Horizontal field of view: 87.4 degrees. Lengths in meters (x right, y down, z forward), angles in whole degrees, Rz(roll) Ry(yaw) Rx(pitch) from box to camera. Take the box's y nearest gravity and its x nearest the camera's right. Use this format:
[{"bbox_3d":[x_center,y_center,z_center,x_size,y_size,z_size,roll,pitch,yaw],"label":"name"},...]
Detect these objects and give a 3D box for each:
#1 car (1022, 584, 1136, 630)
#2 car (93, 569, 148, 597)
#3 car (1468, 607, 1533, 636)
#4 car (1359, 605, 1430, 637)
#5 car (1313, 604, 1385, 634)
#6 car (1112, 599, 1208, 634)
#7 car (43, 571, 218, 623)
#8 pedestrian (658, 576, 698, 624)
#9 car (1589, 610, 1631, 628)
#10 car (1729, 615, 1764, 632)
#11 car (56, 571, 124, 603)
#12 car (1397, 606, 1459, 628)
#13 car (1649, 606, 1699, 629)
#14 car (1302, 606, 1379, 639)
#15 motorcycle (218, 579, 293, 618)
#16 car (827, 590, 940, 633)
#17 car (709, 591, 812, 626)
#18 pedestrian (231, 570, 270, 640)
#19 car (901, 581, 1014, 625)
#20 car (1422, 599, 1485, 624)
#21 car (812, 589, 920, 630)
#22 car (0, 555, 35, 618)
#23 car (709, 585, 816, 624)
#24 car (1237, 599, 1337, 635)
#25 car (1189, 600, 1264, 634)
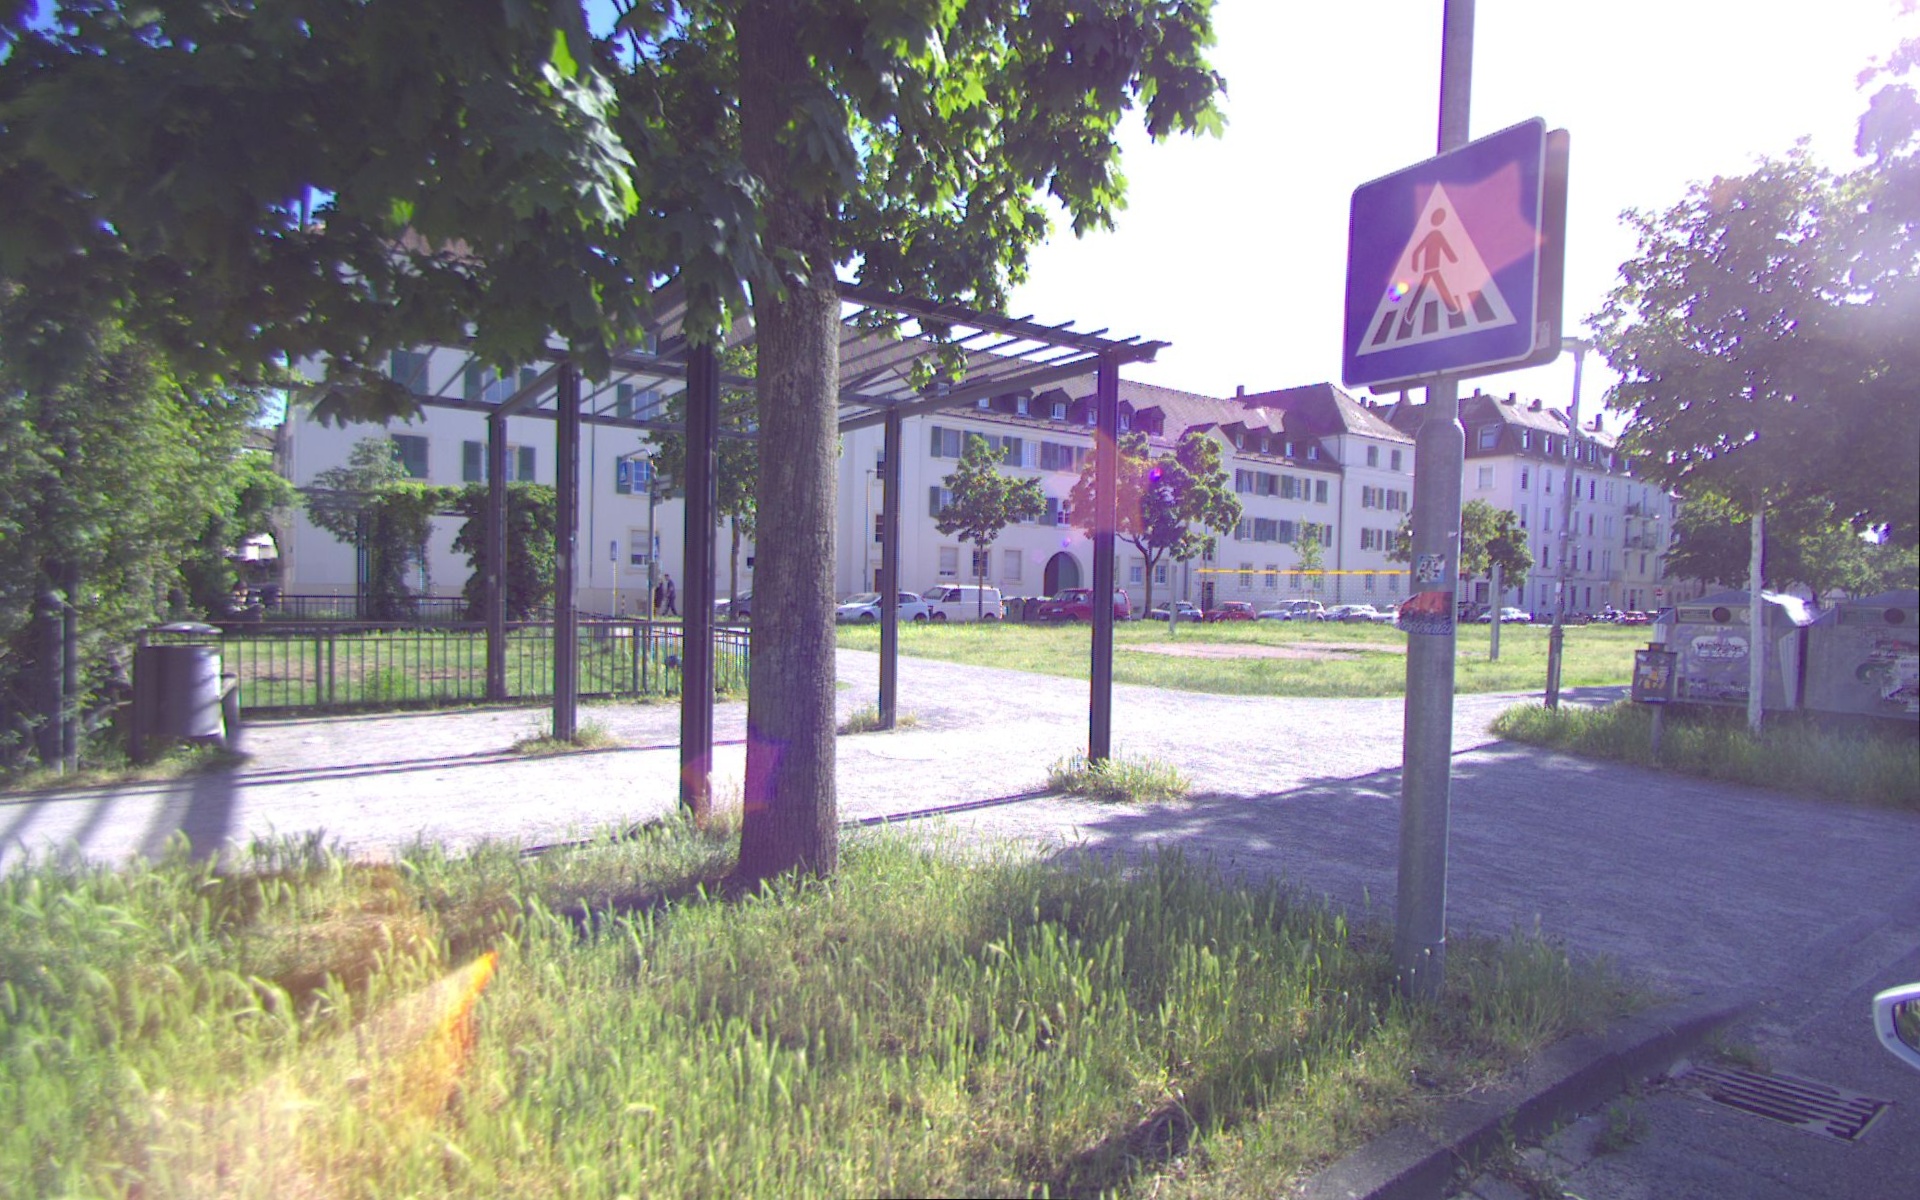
[{"bbox_3d":[5.575,0.321,46.703,5.209,2.011,2.204,1,1,-37],"label":"car"},{"bbox_3d":[-50.316,-1.036,60.258,2.021,1.539,3.781,1,1,-32],"label":"car"},{"bbox_3d":[37.256,1.486,69.201,4.661,1.845,2.142,1,1,-37],"label":"car"},{"bbox_3d":[26.740,1.299,61.735,4.218,1.845,2.219,1,1,-37],"label":"car"},{"bbox_3d":[26.500,1.289,68.366,5.107,1.911,2.139,1,1,-35],"label":"car"},{"bbox_3d":[11.507,0.968,57.662,5.202,1.845,2.435,1,1,-34],"label":"car"},{"bbox_3d":[-23.300,-0.069,28.408,3.678,1.349,1.735,1,1,-37],"label":"car"},{"bbox_3d":[-12.008,0.004,42.765,1.154,1.989,1.328,1,1,-40],"label":"pedestrian"},{"bbox_3d":[59.257,1.745,91.562,4.414,1.608,1.977,1,1,-39],"label":"car"},{"bbox_3d":[75.417,2.295,96.319,4.044,1.547,1.681,1,1,-38],"label":"car"},{"bbox_3d":[-44.255,-0.687,51.167,2.021,1.539,3.781,1,1,-32],"label":"car"},{"bbox_3d":[34.457,1.278,73.897,4.910,1.504,1.980,1,0,-36],"label":"car"},{"bbox_3d":[61.787,1.495,86.896,5.052,1.897,2.066,1,1,-38],"label":"car"},{"bbox_3d":[22.164,1.310,58.457,3.967,1.774,2.303,1,1,-34],"label":"car"},{"bbox_3d":[-24.595,-0.051,35.095,2.125,1.323,0.810,1,1,-37],"label":"motorcycle"},{"bbox_3d":[-3.035,0.453,40.099,4.195,1.605,1.776,1,1,-36],"label":"car"},{"bbox_3d":[-8.520,0.371,42.951,3.961,1.374,1.757,1,1,-36],"label":"car"},{"bbox_3d":[-15.198,0.108,21.516,0.667,1.458,0.539,1,1,-37],"label":"pedestrian"},{"bbox_3d":[-0.079,0.181,49.093,5.209,2.011,2.204,1,1,-37],"label":"car"},{"bbox_3d":[43.541,0.969,88.660,2.121,2.041,4.527,1,1,-38],"label":"car"},{"bbox_3d":[-4.275,0.450,46.042,4.602,1.787,1.979,1,1,-37],"label":"car"},{"bbox_3d":[-32.031,-0.498,32.770,2.021,1.982,3.781,1,1,-32],"label":"car"},{"bbox_3d":[-7.237,0.183,36.869,3.481,1.350,1.638,1,1,-36],"label":"car"},{"bbox_3d":[18.092,0.949,55.546,5.396,1.845,2.435,1,1,-34],"label":"car"},{"bbox_3d":[16.186,1.024,60.961,4.127,1.930,2.247,1,1,-36],"label":"car"}]
